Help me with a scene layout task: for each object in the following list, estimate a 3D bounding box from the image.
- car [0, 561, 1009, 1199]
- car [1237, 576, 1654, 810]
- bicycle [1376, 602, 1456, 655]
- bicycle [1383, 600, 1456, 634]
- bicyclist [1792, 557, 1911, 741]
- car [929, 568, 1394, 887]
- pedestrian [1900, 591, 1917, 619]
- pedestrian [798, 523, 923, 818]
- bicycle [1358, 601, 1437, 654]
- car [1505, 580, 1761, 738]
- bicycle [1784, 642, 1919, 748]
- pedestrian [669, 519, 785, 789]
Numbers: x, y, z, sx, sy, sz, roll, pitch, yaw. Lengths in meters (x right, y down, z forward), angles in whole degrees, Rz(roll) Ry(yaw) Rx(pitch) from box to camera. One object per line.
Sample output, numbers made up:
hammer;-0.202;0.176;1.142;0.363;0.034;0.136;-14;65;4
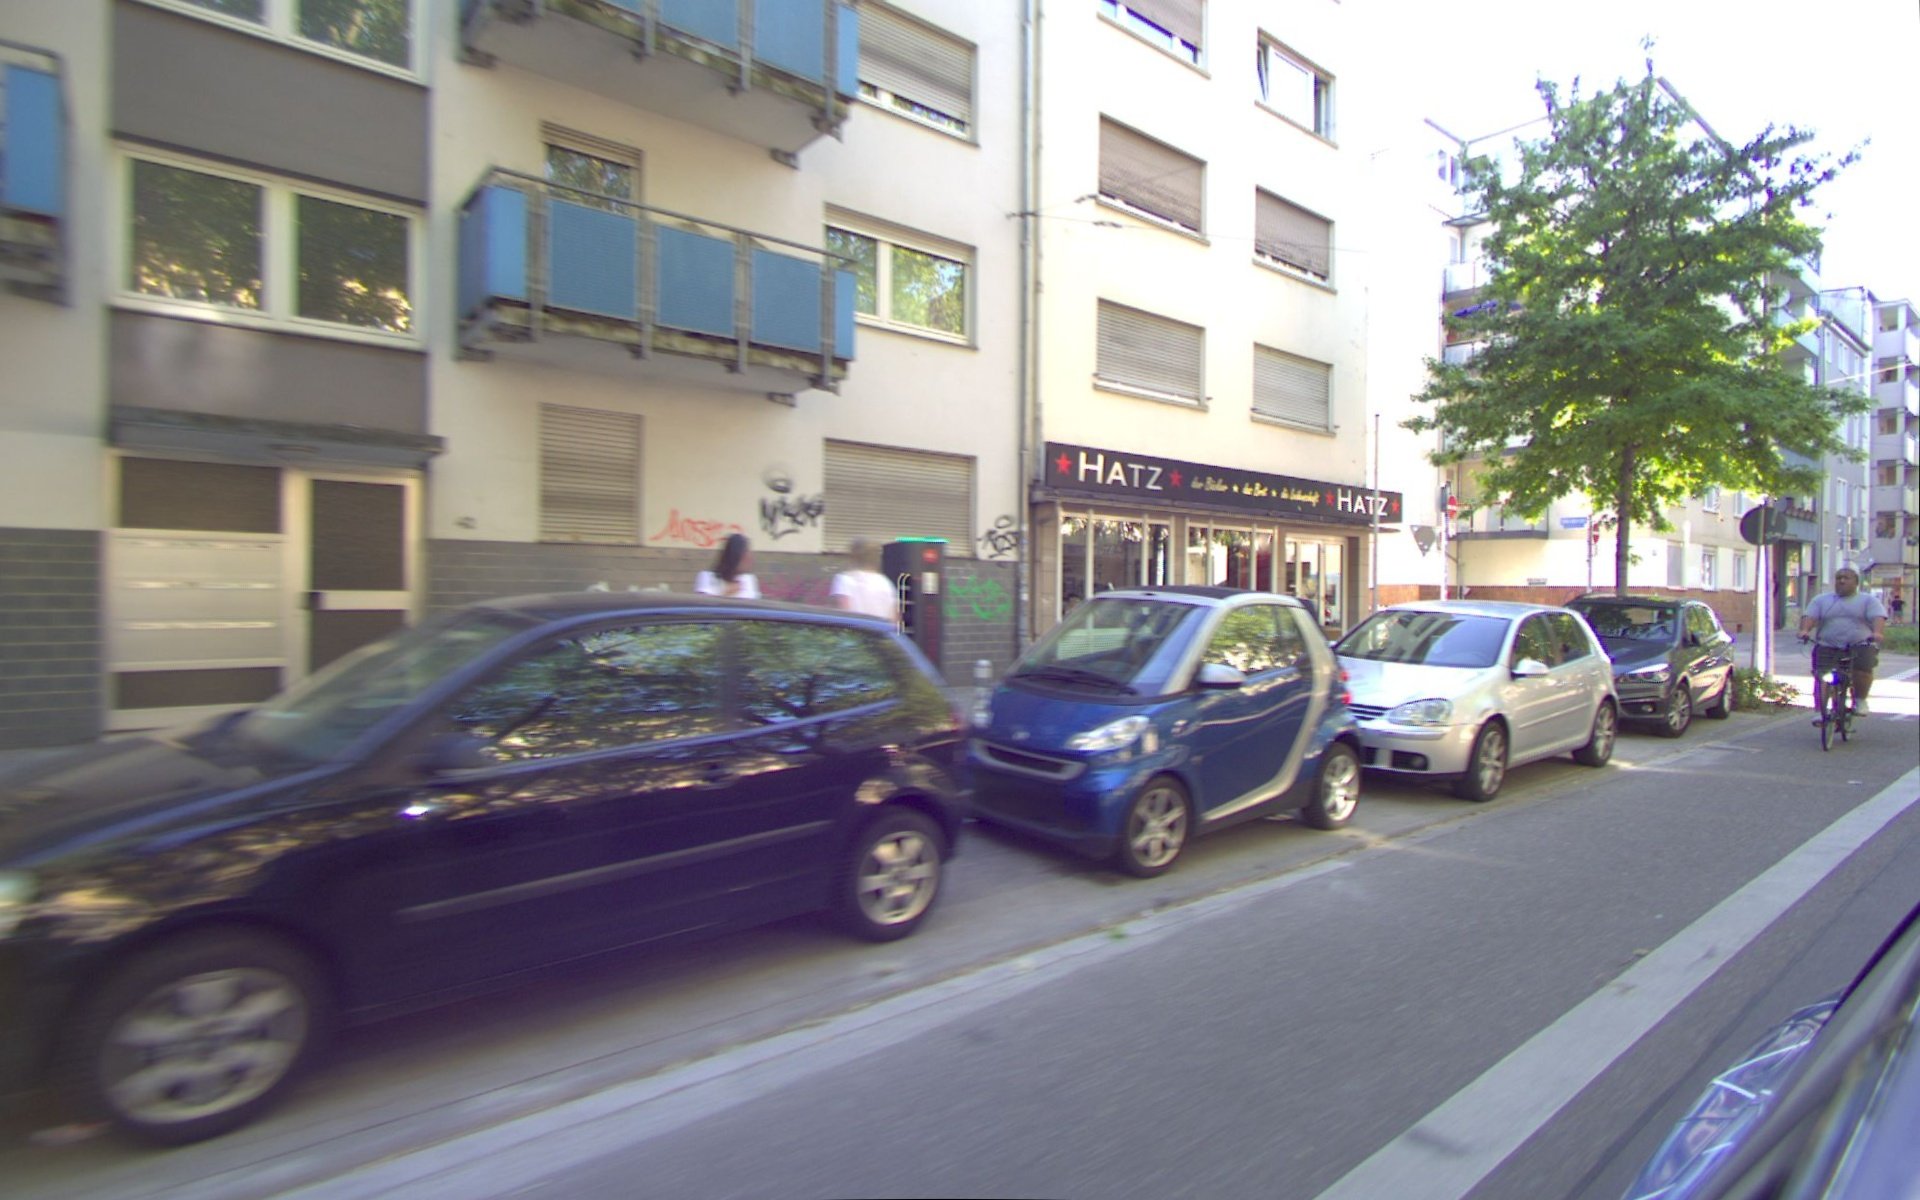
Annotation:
car;-1.743;0.653;4.011;3.823;1.500;1.625;0;3;-42
car;4.427;0.628;8.976;4.054;1.556;1.791;0;3;-40
bicycle;11.006;0.666;24.513;0.471;1.222;2.078;0;0;-18
bicycle;14.681;0.538;32.419;0.595;1.004;2.112;0;2;-36
bicyclist;9.539;0.490;10.829;1.079;1.854;0.768;0;-1;-39
car;1.371;0.618;6.490;2.830;1.556;1.447;0;2;-40
pedestrian;51.257;0.275;54.674;0.589;1.521;0.590;0;0;-39
pedestrian;-0.668;0.440;6.821;0.653;1.875;0.476;0;2;-45
bicycle;10.497;0.634;24.358;0.471;1.222;2.078;0;0;-18
car;8.509;0.583;12.650;4.189;1.590;1.722;-1;3;-43
bicycle;9.587;0.972;10.857;1.904;0.949;0.790;-1;0;-39
pedestrian;-1.713;0.374;7.458;0.538;1.875;0.653;0;0;44
